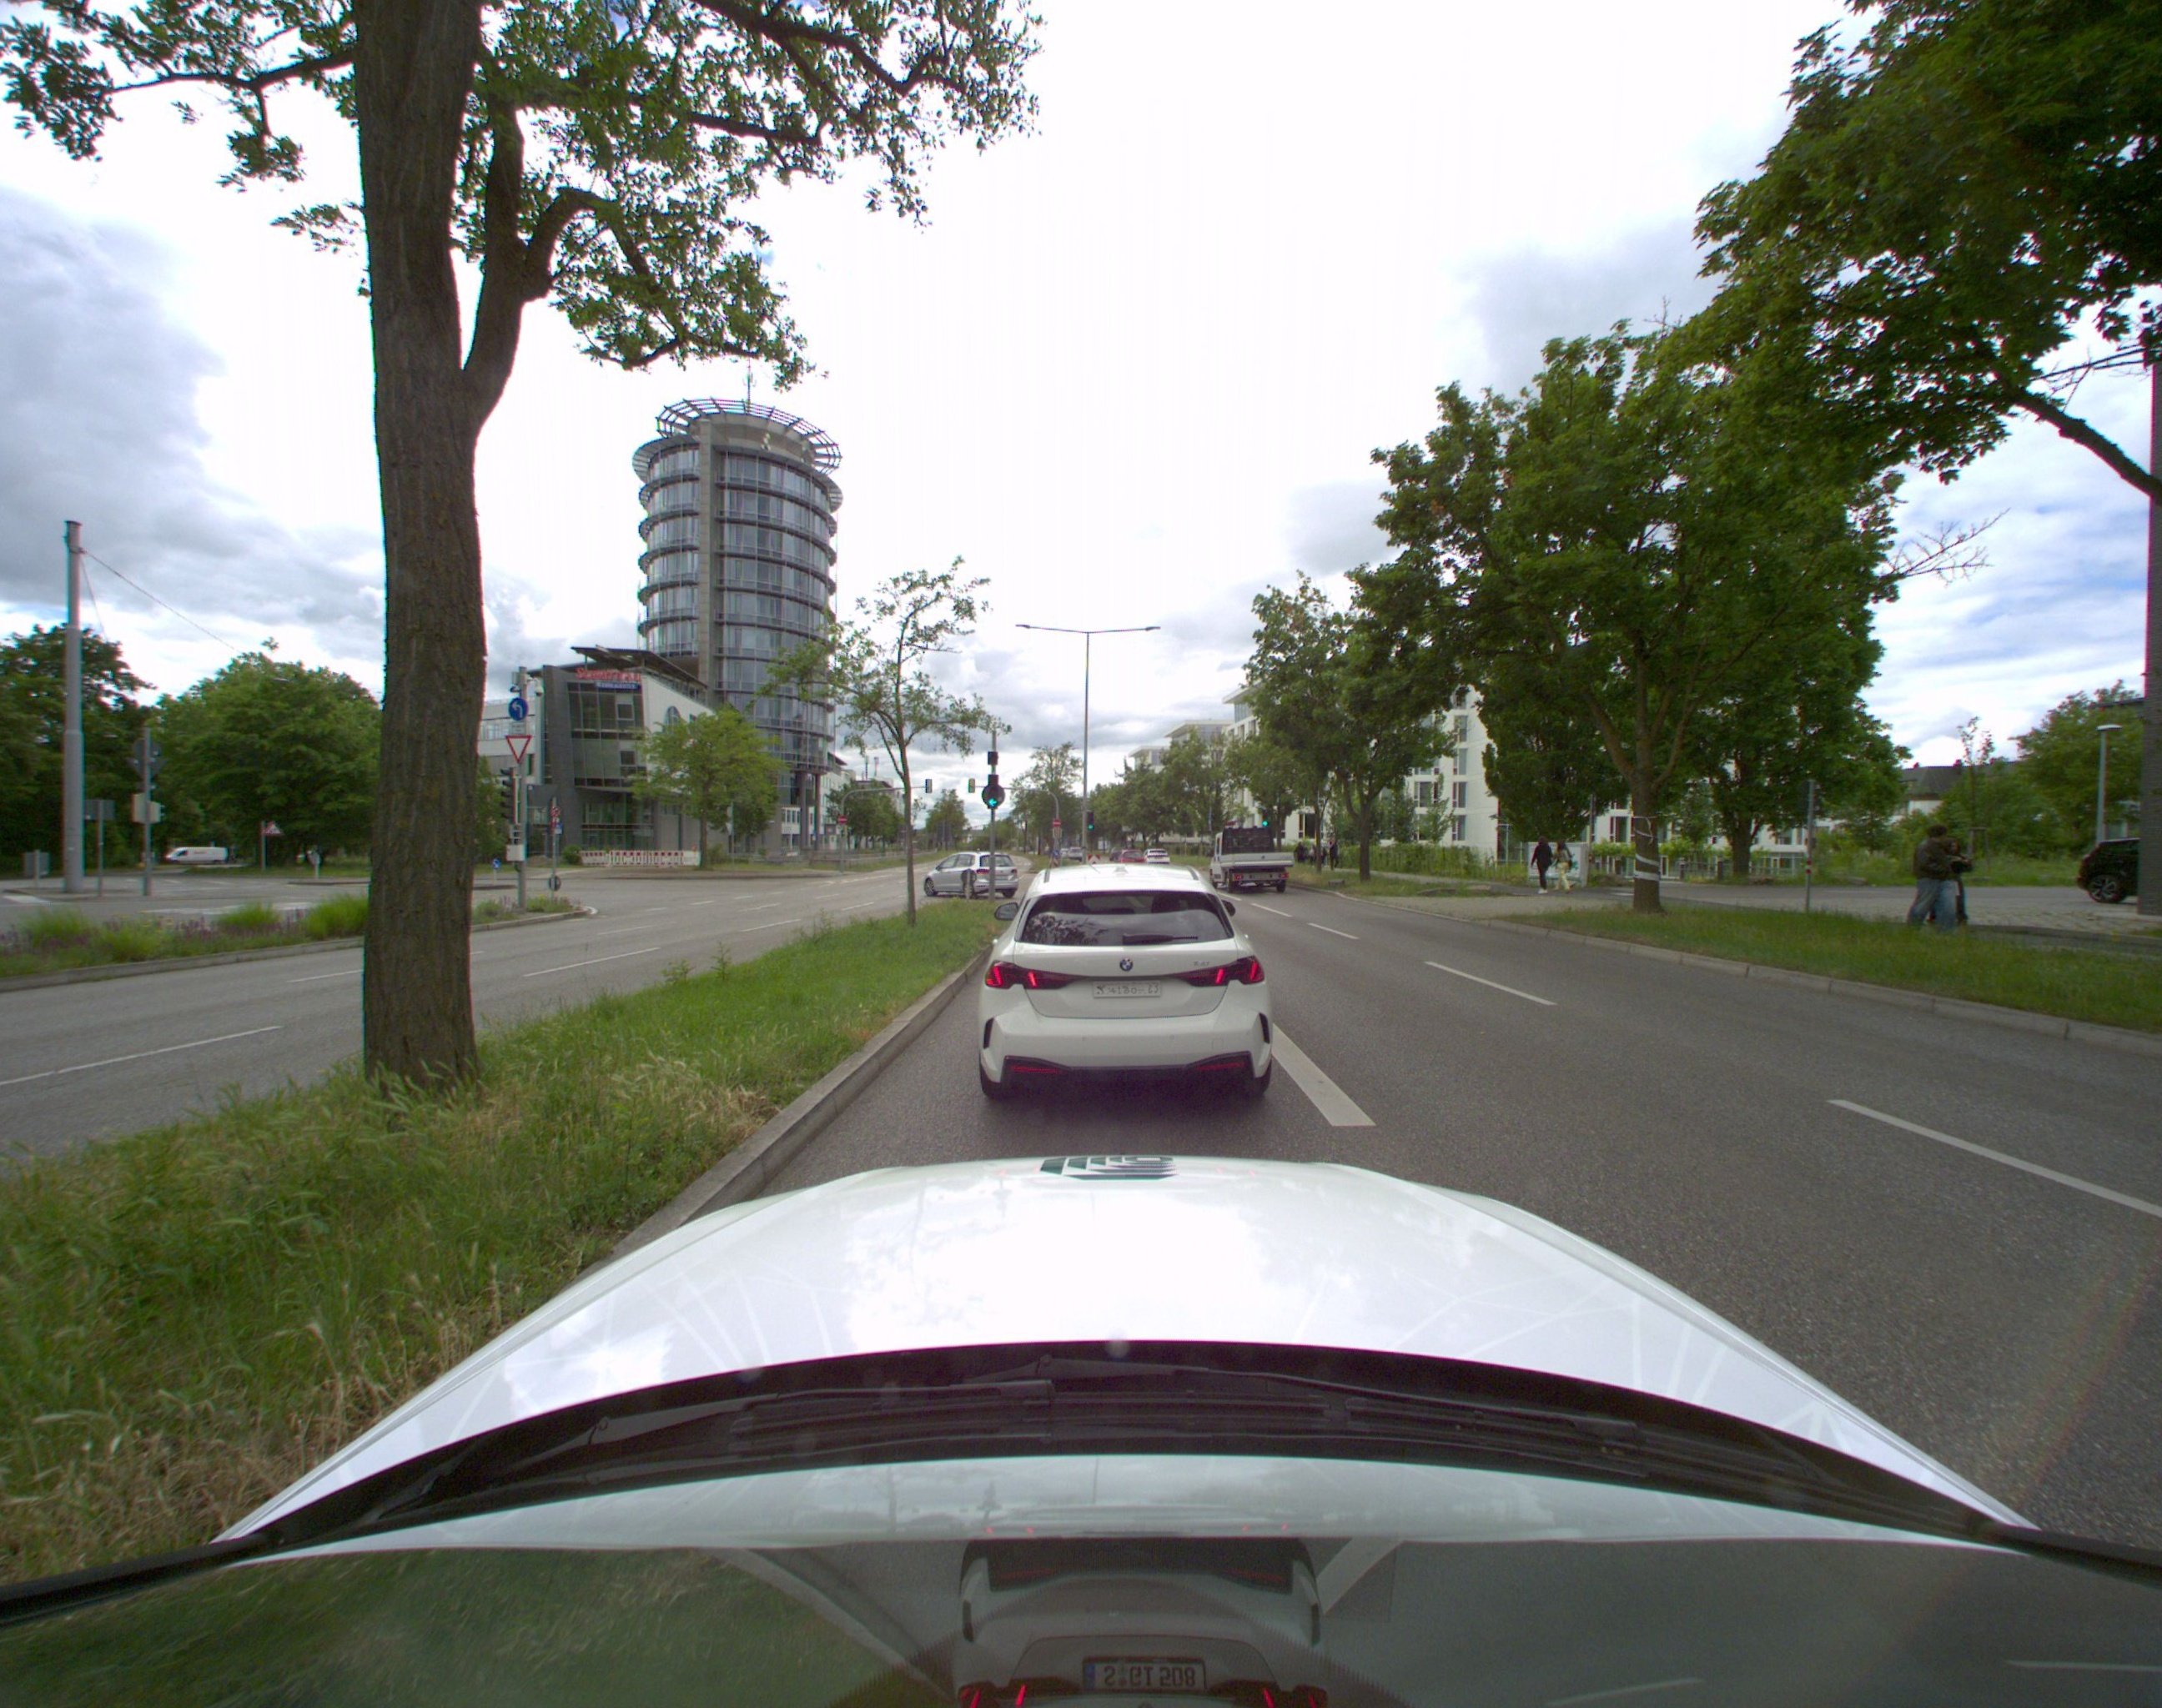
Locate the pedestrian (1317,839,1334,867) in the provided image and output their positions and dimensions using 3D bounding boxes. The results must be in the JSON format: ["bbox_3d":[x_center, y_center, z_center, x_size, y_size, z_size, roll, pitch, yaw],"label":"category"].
[{"bbox_3d":[14.844,-0.067,49.396,0.764,1.685,0.883,0,-1,1],"label":"pedestrian"}]

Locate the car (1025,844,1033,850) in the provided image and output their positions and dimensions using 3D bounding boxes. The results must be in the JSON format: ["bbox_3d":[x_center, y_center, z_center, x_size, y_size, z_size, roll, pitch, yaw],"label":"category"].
[{"bbox_3d":[-15.723,-2.055,246.508,1.992,1.670,3.990,-2,0,-7],"label":"car"}]

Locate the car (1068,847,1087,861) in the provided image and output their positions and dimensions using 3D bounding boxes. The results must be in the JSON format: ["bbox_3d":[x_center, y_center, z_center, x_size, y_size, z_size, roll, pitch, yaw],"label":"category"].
[{"bbox_3d":[-0.413,0.000,92.439,1.851,1.596,4.307,-1,0,-4],"label":"car"}]

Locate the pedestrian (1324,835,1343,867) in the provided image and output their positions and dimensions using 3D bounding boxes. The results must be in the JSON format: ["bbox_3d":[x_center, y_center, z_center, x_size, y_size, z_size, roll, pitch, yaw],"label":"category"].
[{"bbox_3d":[12.831,-0.154,41.421,0.739,1.574,0.674,0,-1,1],"label":"pedestrian"}]

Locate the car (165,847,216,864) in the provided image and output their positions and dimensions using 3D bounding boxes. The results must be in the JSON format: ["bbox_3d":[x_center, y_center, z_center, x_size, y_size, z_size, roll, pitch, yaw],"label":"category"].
[{"bbox_3d":[-128.944,0.236,118.025,1.978,2.339,4.570,-1,0,16],"label":"car"}]

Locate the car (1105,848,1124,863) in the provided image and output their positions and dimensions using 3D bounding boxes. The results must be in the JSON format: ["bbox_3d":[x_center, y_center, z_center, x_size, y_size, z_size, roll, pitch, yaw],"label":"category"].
[{"bbox_3d":[3.788,0.203,92.484,1.654,1.512,3.993,0,-2,-4],"label":"car"}]

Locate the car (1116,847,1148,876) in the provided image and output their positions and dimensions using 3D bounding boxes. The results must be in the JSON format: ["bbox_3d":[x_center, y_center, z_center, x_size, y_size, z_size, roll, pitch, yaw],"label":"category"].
[{"bbox_3d":[2.903,0.422,47.091,1.710,1.558,3.859,-1,0,1],"label":"car"}]

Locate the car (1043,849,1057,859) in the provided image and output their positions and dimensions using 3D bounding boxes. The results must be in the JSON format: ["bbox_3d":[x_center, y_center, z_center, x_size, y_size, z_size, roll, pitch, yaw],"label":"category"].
[{"bbox_3d":[-5.011,0.045,131.659,1.889,1.596,4.305,0,0,-6],"label":"car"}]

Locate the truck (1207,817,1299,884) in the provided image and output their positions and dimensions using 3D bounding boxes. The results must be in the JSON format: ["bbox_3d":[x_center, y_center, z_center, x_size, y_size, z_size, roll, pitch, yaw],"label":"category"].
[{"bbox_3d":[6.082,-0.120,29.532,2.204,2.203,5.845,0,0,1],"label":"truck"}]

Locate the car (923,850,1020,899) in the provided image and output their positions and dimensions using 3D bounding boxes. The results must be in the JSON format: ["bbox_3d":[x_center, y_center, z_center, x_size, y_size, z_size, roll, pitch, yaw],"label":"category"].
[{"bbox_3d":[-3.857,0.652,28.259,1.562,1.569,3.954,0,0,-38],"label":"car"}]

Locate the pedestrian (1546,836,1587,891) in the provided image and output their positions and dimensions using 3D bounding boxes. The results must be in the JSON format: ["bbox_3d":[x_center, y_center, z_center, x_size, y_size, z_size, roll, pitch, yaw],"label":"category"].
[{"bbox_3d":[14.712,0.280,24.697,0.774,1.660,0.954,0,0,8],"label":"pedestrian"}]

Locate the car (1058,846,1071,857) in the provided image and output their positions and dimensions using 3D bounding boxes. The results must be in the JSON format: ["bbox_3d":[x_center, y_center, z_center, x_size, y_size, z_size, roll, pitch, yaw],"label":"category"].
[{"bbox_3d":[-2.210,-0.327,106.107,1.602,1.468,3.671,0,0,-3],"label":"car"}]

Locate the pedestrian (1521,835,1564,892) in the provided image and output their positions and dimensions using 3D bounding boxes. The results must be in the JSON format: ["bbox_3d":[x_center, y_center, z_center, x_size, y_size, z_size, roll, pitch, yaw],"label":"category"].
[{"bbox_3d":[13.886,0.277,24.551,0.791,1.660,1.062,0,0,8],"label":"pedestrian"}]

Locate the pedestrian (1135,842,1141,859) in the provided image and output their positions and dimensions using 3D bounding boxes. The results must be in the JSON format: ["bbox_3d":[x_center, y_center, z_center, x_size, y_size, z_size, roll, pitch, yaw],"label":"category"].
[{"bbox_3d":[9.055,-0.541,129.350,0.828,2.627,0.646,0,0,1],"label":"pedestrian"}]

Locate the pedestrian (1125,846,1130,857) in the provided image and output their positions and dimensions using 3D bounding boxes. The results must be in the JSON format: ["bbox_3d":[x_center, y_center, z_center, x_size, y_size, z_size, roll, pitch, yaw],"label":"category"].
[{"bbox_3d":[8.127,-0.452,142.096,0.763,2.013,0.751,0,0,-13],"label":"pedestrian"}]

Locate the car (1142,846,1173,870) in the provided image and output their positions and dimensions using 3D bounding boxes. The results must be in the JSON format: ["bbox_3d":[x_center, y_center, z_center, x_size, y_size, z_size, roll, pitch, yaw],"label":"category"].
[{"bbox_3d":[5.227,0.243,56.142,1.711,1.555,4.087,-1,0,-1],"label":"car"}]

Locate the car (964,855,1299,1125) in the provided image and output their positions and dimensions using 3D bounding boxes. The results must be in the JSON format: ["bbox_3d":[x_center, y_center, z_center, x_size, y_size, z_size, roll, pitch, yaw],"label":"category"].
[{"bbox_3d":[0.340,0.736,6.414,1.815,1.438,4.002,0,0,2],"label":"car"}]

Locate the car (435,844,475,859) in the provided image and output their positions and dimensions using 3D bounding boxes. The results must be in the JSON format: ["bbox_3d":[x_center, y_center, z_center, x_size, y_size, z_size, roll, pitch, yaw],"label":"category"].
[{"bbox_3d":[-37.292,-0.129,48.523,0.766,0.876,1.730,0,0,39],"label":"car"}]

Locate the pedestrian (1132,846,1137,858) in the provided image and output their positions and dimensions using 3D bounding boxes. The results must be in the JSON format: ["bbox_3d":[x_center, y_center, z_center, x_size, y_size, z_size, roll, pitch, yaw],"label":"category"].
[{"bbox_3d":[9.174,-0.400,140.176,0.845,2.013,0.605,0,0,1],"label":"pedestrian"}]

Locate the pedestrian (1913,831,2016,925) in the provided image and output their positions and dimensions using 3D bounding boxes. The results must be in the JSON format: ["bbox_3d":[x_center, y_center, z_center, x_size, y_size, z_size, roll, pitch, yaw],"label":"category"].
[{"bbox_3d":[15.045,0.395,13.894,0.828,1.557,0.876,0,0,4],"label":"pedestrian"}]

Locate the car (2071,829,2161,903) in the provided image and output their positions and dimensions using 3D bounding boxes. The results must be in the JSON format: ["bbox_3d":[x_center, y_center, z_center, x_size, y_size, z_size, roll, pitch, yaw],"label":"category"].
[{"bbox_3d":[24.894,0.269,17.728,1.749,1.646,4.151,0,0,2],"label":"car"}]

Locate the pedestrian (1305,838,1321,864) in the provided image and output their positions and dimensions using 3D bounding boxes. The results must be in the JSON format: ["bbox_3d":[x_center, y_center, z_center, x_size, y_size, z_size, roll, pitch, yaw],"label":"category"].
[{"bbox_3d":[14.064,-0.186,49.392,0.697,1.595,0.883,0,-1,1],"label":"pedestrian"}]

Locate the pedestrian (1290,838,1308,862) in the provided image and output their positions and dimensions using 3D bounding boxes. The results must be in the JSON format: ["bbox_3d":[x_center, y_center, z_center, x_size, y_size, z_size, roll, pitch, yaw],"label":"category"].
[{"bbox_3d":[13.310,-0.242,49.714,0.786,1.448,1.112,0,-1,1],"label":"pedestrian"}]

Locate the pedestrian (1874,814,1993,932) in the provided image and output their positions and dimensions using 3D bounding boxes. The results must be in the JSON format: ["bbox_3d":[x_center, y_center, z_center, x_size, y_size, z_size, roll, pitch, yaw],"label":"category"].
[{"bbox_3d":[13.985,0.296,13.393,0.955,1.868,0.980,0,0,5],"label":"pedestrian"}]
